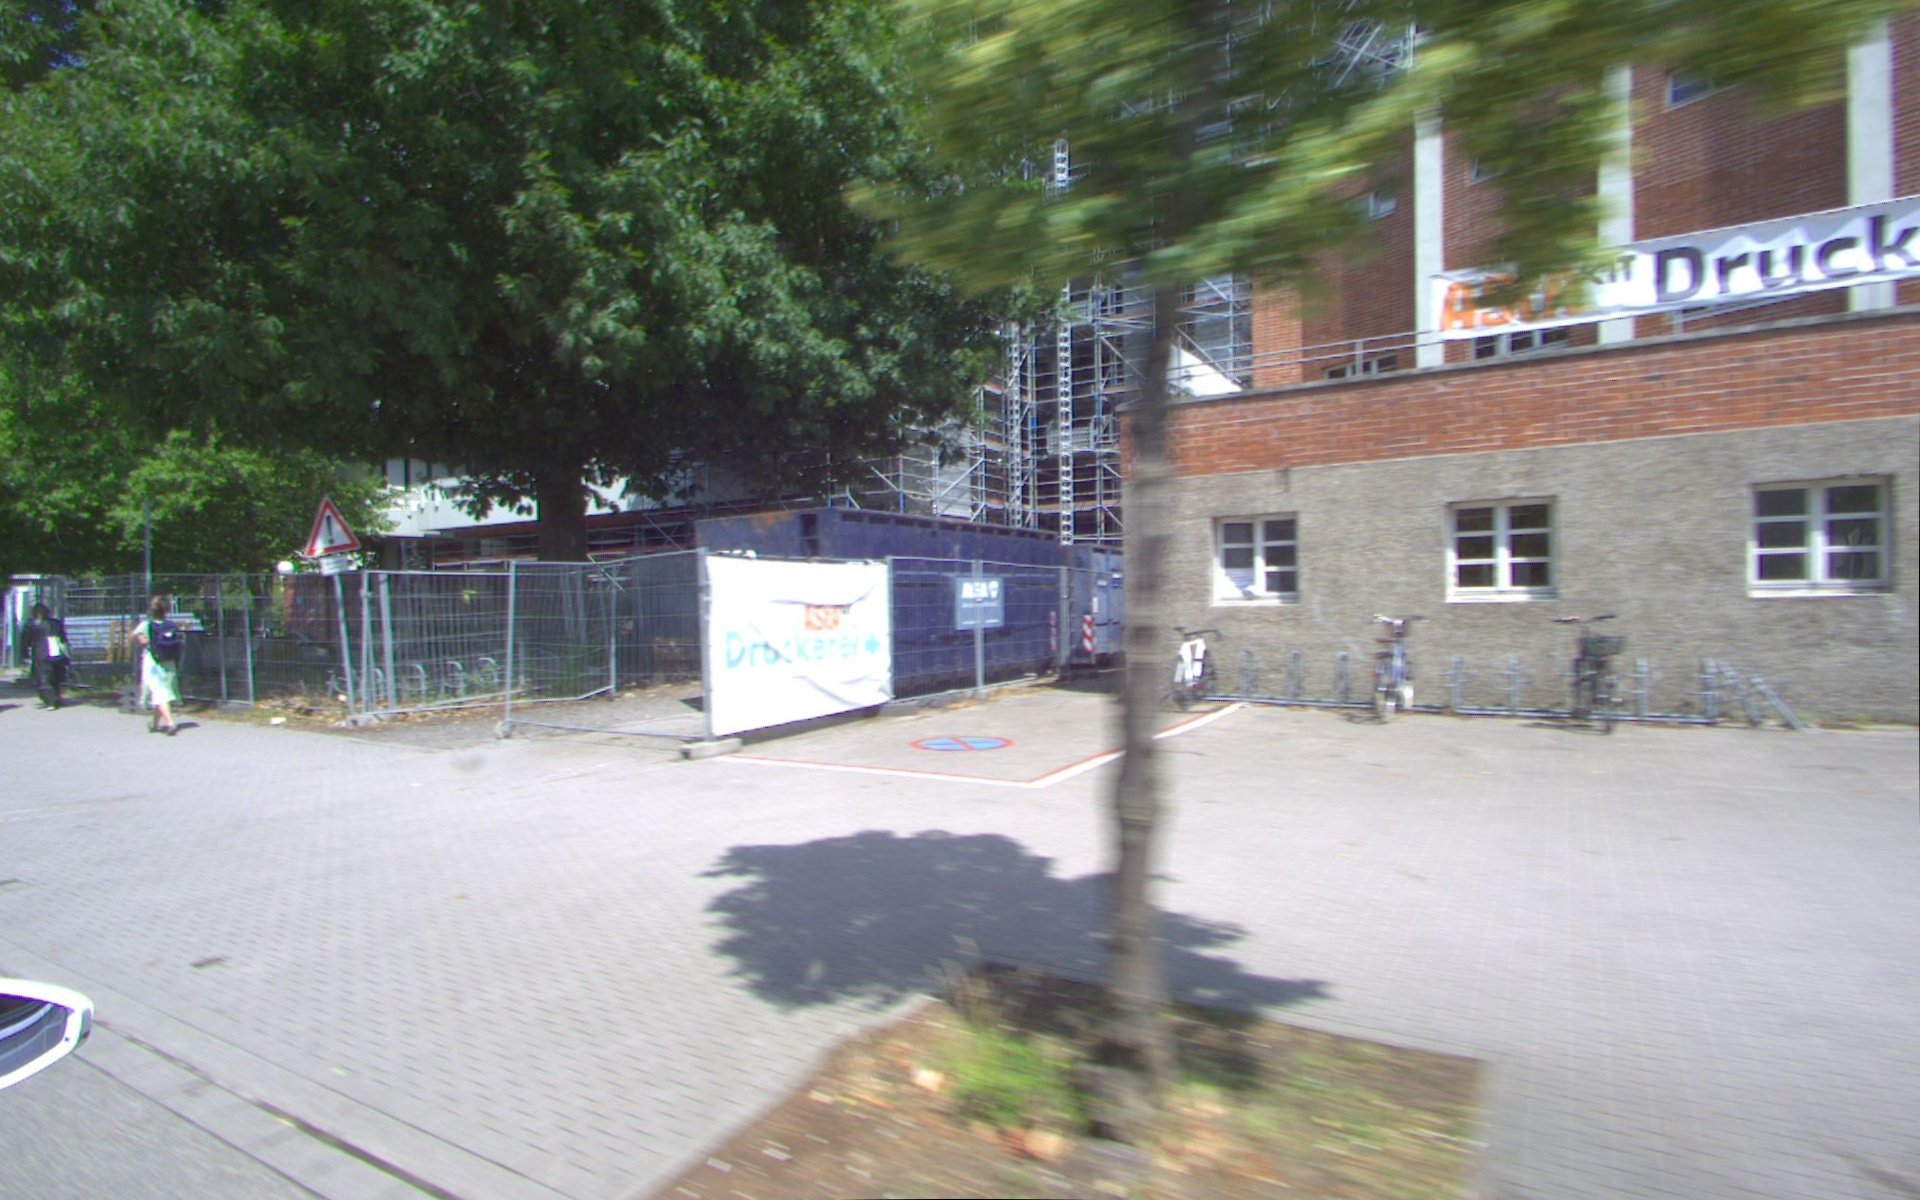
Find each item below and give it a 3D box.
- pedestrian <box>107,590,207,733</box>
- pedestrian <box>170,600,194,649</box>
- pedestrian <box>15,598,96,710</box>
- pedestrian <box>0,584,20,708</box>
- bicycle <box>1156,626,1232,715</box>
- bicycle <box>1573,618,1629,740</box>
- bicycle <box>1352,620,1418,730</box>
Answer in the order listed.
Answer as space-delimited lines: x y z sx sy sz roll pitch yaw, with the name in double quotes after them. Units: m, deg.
-9.935 0.736 12.397 0.891 1.688 0.648 -1 1 30 "pedestrian"
-29.808 0.950 38.362 0.752 1.861 0.541 -1 1 38 "pedestrian"
-13.553 0.785 15.005 0.972 1.621 0.666 -1 1 35 "pedestrian"
-14.280 0.674 14.466 0.706 1.787 0.847 -1 1 35 "pedestrian"
3.018 0.866 12.835 0.441 1.016 1.668 0 0 31 "bicycle"
6.605 0.764 10.361 0.441 1.124 1.802 0 0 31 "bicycle"
4.839 0.802 11.362 0.441 1.124 1.698 0 0 31 "bicycle"
